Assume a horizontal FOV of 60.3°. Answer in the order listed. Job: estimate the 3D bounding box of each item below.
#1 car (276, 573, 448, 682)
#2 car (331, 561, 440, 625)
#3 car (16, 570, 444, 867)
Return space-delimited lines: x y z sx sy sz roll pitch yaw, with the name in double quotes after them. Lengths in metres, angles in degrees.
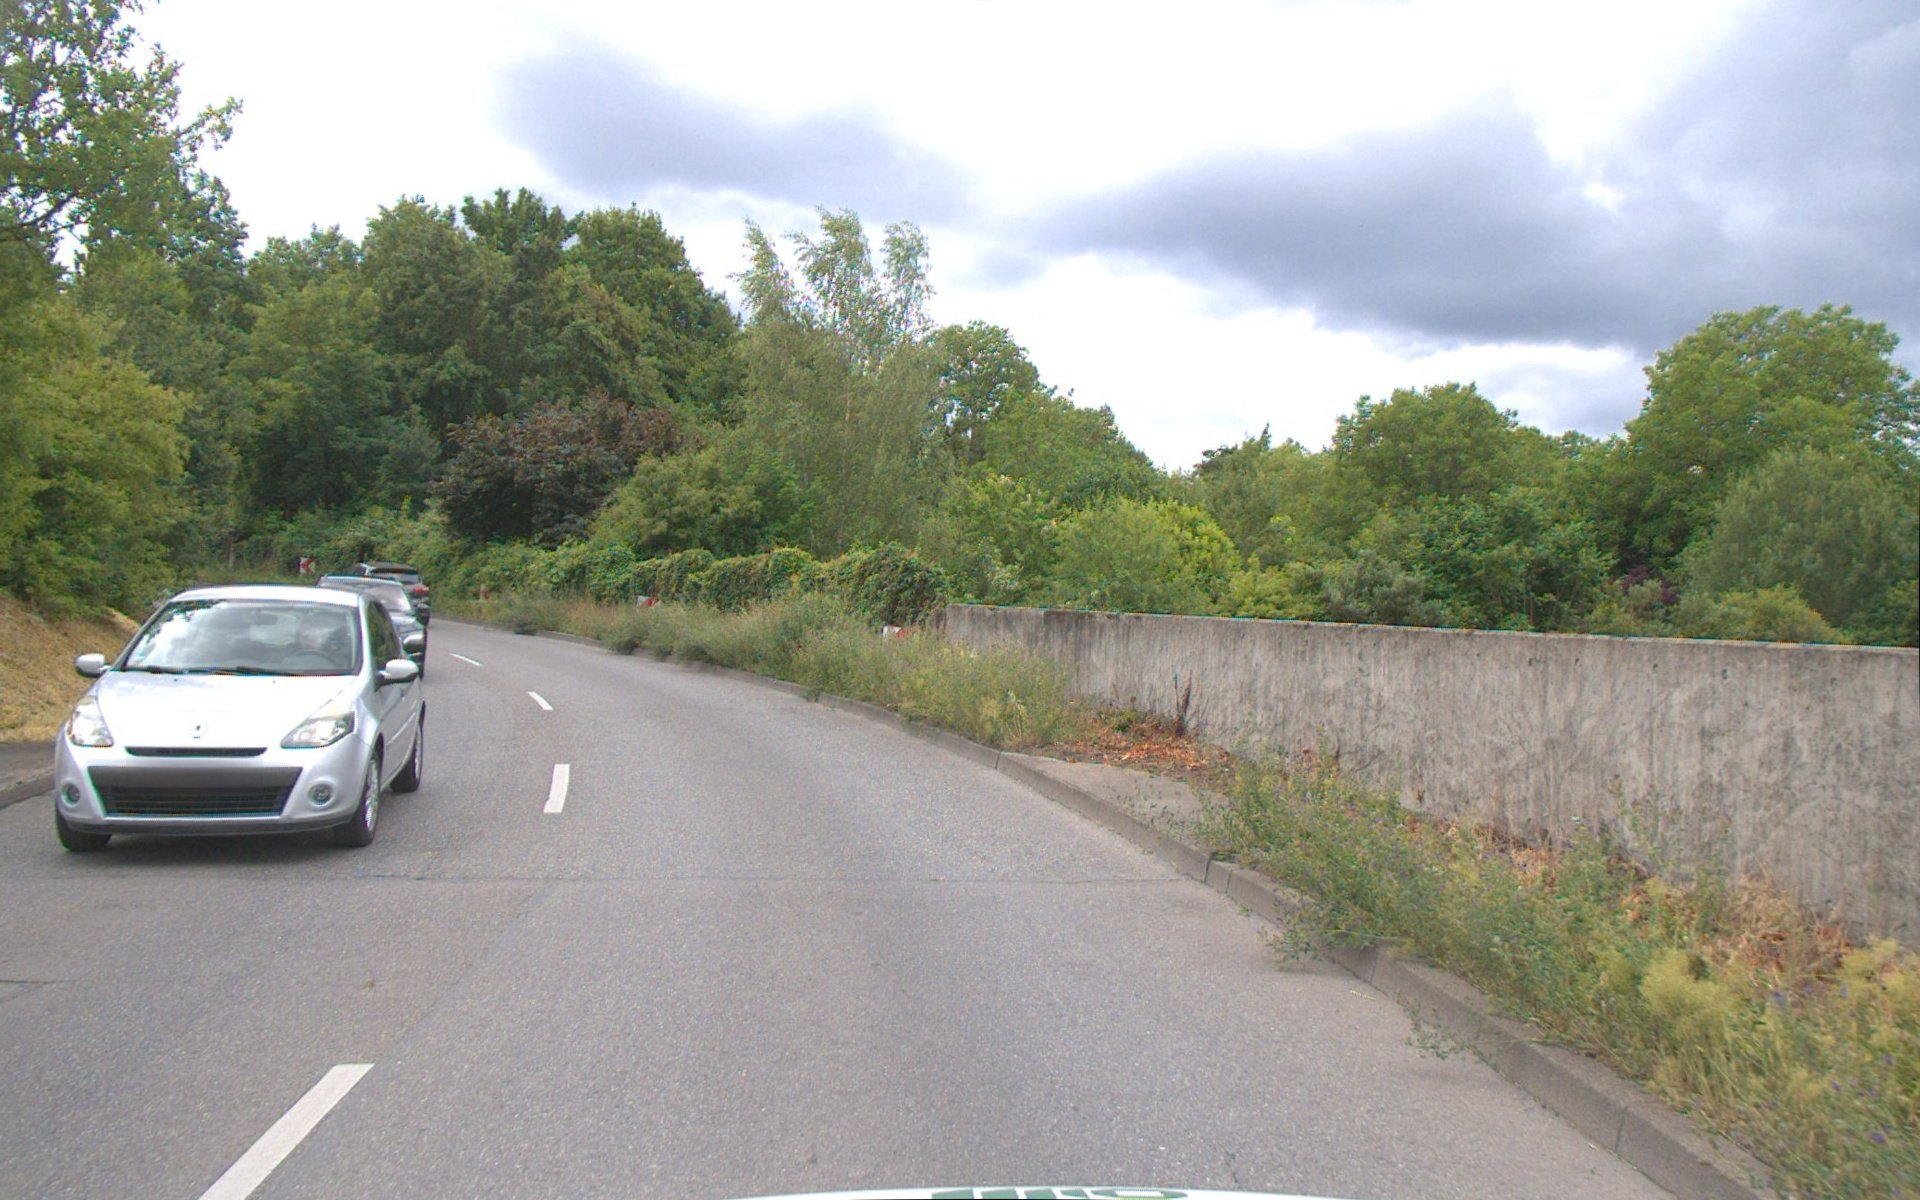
-9.281 0.401 25.461 1.719 1.521 4.388 0 -1 -31 "car"
-14.441 -0.169 41.472 1.821 1.509 3.957 -1 0 -31 "car"
-4.399 0.626 10.590 1.744 1.521 3.901 0 -1 -13 "car"
